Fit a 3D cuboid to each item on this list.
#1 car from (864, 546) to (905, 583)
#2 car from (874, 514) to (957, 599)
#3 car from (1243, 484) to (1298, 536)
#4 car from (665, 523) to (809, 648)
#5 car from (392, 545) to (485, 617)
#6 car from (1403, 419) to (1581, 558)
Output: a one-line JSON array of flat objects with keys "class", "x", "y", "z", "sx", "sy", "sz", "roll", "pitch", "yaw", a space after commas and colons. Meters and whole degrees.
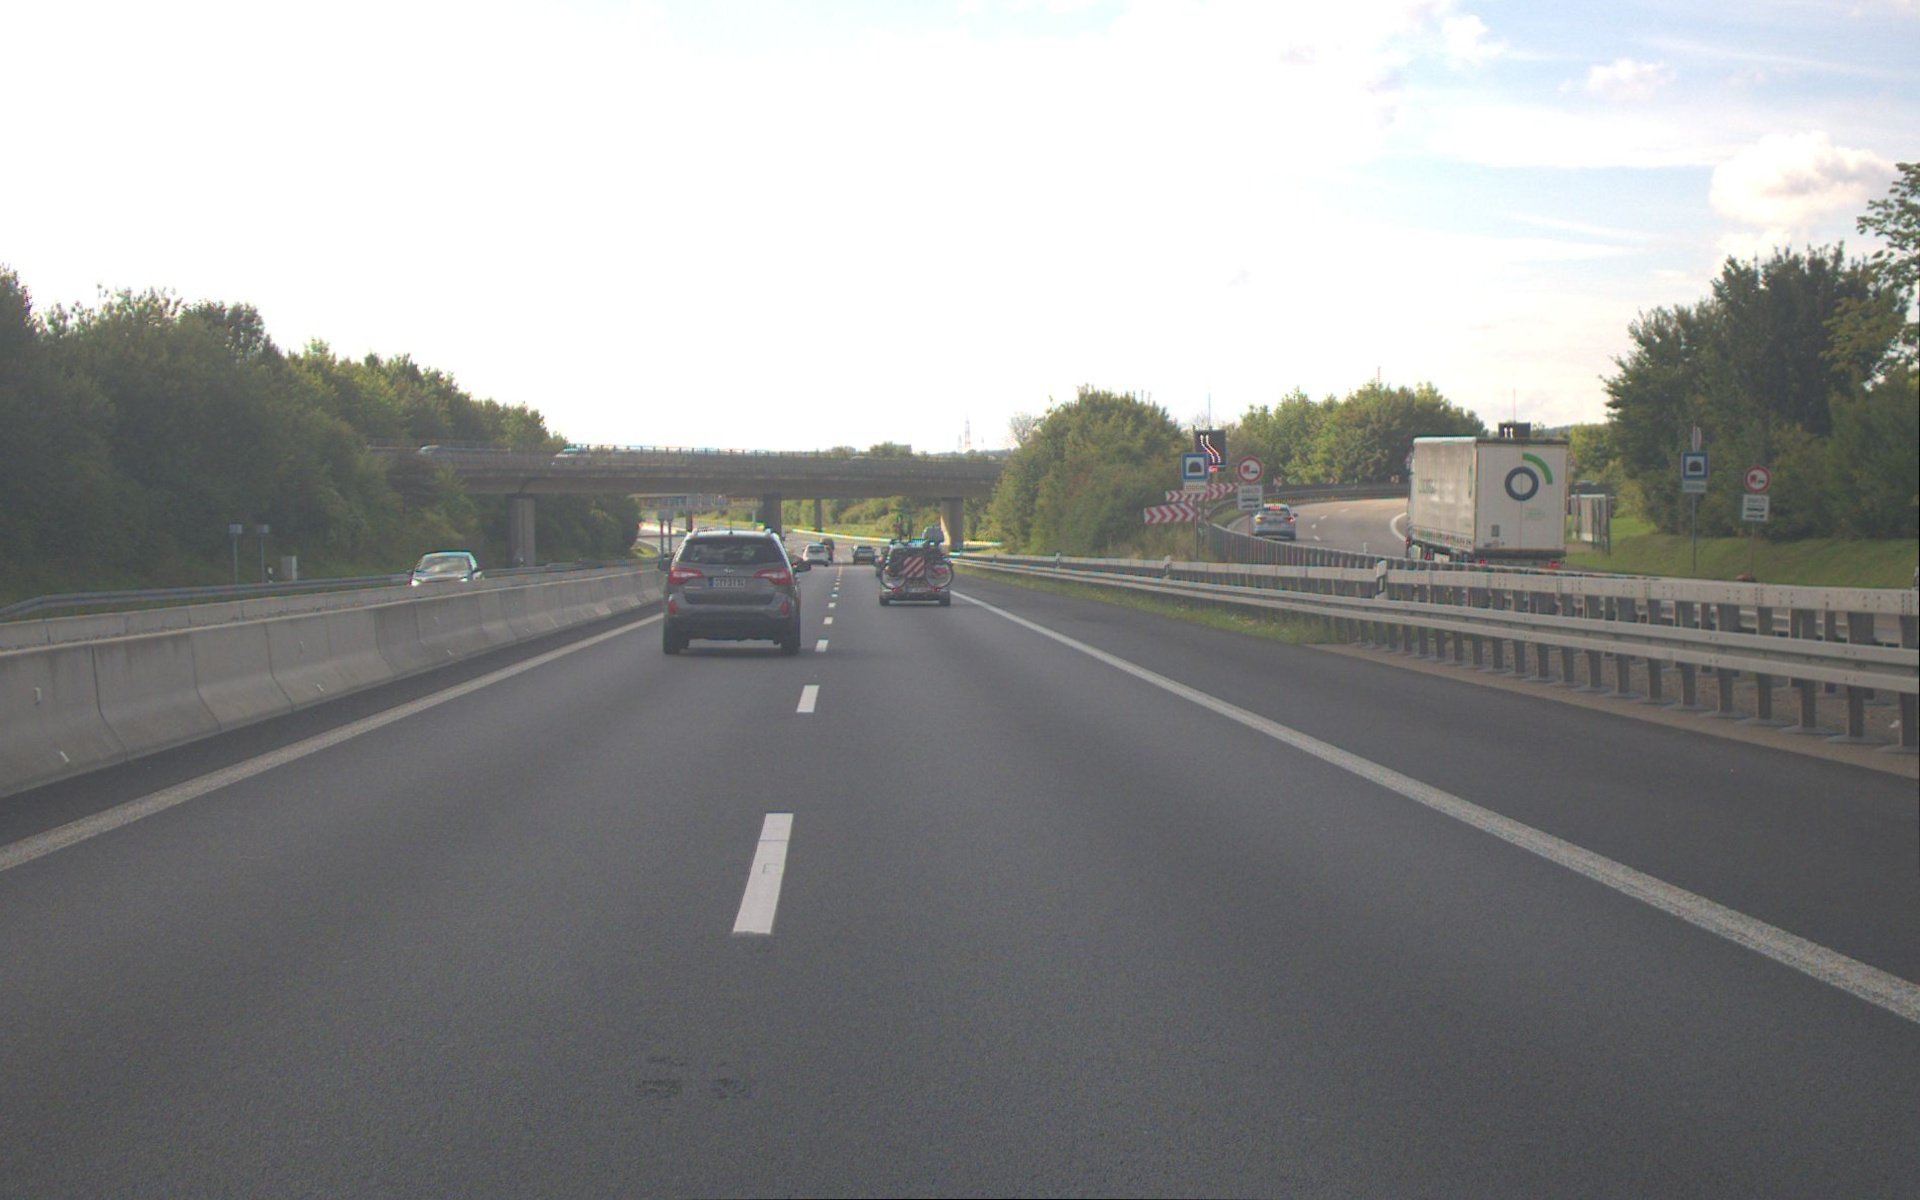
[{"class": "car", "x": -3.846, "y": -1.819, "z": 173.766, "sx": 1.975, "sy": 1.773, "sz": 4.121, "roll": -2, "pitch": 1, "yaw": -2}, {"class": "car", "x": -1.146, "y": -1.113, "z": 87.532, "sx": 1.993, "sy": 2.073, "sz": 4.000, "roll": -2, "pitch": 1, "yaw": -2}, {"class": "car", "x": 12.600, "y": -3.630, "z": 139.627, "sx": 1.994, "sy": 2.007, "sz": 4.000, "roll": -2, "pitch": 1, "yaw": 3}, {"class": "car", "x": -3.081, "y": -0.225, "z": 48.044, "sx": 1.750, "sy": 1.624, "sz": 3.609, "roll": -2, "pitch": 1, "yaw": 0}, {"class": "car", "x": -13.766, "y": -0.523, "z": 90.964, "sx": 1.807, "sy": 1.826, "sz": 4.397, "roll": -2, "pitch": 1, "yaw": -1}, {"class": "car", "x": 14.912, "y": -3.076, "z": 97.038, "sx": 3.576, "sy": 3.664, "sz": 7.549, "roll": -2, "pitch": 1, "yaw": -2}]
